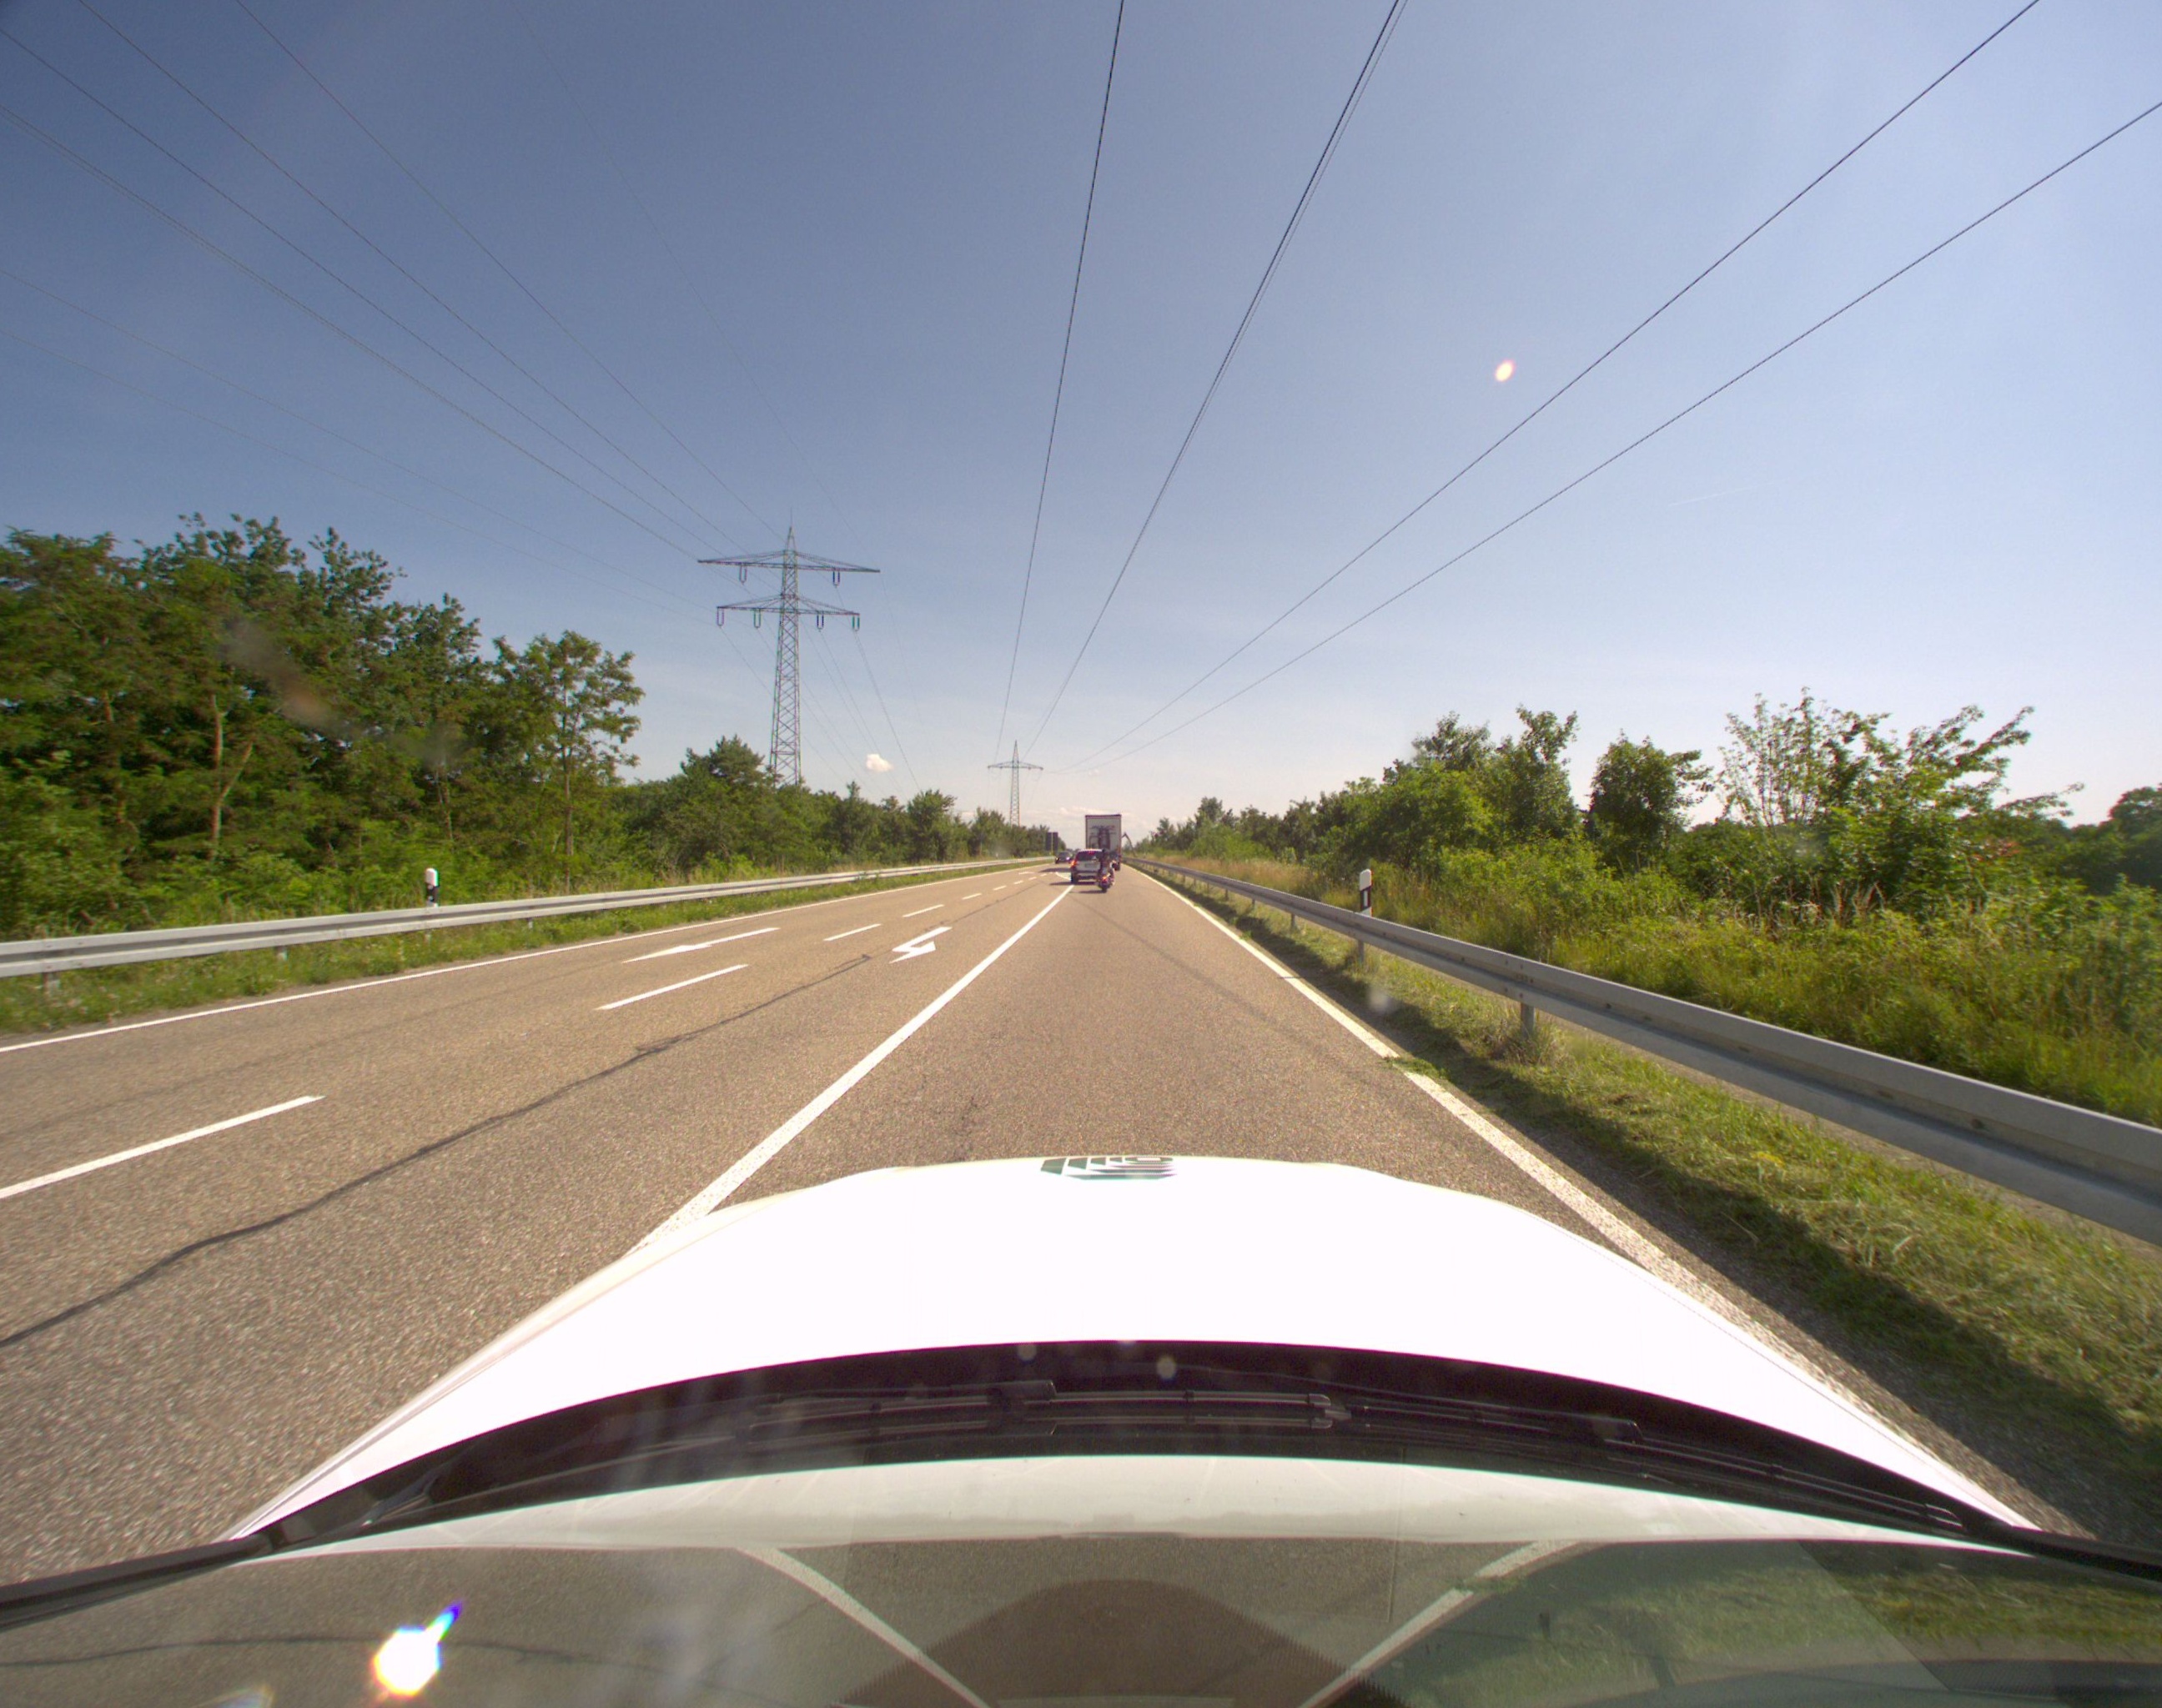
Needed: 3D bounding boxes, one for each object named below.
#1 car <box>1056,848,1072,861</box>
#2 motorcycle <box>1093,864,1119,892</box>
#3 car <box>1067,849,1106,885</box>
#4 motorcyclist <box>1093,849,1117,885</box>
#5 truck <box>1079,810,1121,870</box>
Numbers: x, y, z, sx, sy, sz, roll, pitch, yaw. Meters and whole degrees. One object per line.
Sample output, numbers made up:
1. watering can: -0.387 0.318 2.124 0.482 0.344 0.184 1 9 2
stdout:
1. car: -2.044 0.019 97.515 1.721 1.491 4.424 0 0 1
2. motorcycle: 0.873 0.837 29.282 0.856 0.915 2.227 0 0 0
3. car: 0.259 0.539 36.936 1.695 1.536 3.499 0 0 1
4. motorcyclist: 0.867 0.453 29.279 0.834 1.280 0.919 0 0 -1
5. truck: 1.661 -1.026 64.569 2.956 4.187 14.832 0 0 3
